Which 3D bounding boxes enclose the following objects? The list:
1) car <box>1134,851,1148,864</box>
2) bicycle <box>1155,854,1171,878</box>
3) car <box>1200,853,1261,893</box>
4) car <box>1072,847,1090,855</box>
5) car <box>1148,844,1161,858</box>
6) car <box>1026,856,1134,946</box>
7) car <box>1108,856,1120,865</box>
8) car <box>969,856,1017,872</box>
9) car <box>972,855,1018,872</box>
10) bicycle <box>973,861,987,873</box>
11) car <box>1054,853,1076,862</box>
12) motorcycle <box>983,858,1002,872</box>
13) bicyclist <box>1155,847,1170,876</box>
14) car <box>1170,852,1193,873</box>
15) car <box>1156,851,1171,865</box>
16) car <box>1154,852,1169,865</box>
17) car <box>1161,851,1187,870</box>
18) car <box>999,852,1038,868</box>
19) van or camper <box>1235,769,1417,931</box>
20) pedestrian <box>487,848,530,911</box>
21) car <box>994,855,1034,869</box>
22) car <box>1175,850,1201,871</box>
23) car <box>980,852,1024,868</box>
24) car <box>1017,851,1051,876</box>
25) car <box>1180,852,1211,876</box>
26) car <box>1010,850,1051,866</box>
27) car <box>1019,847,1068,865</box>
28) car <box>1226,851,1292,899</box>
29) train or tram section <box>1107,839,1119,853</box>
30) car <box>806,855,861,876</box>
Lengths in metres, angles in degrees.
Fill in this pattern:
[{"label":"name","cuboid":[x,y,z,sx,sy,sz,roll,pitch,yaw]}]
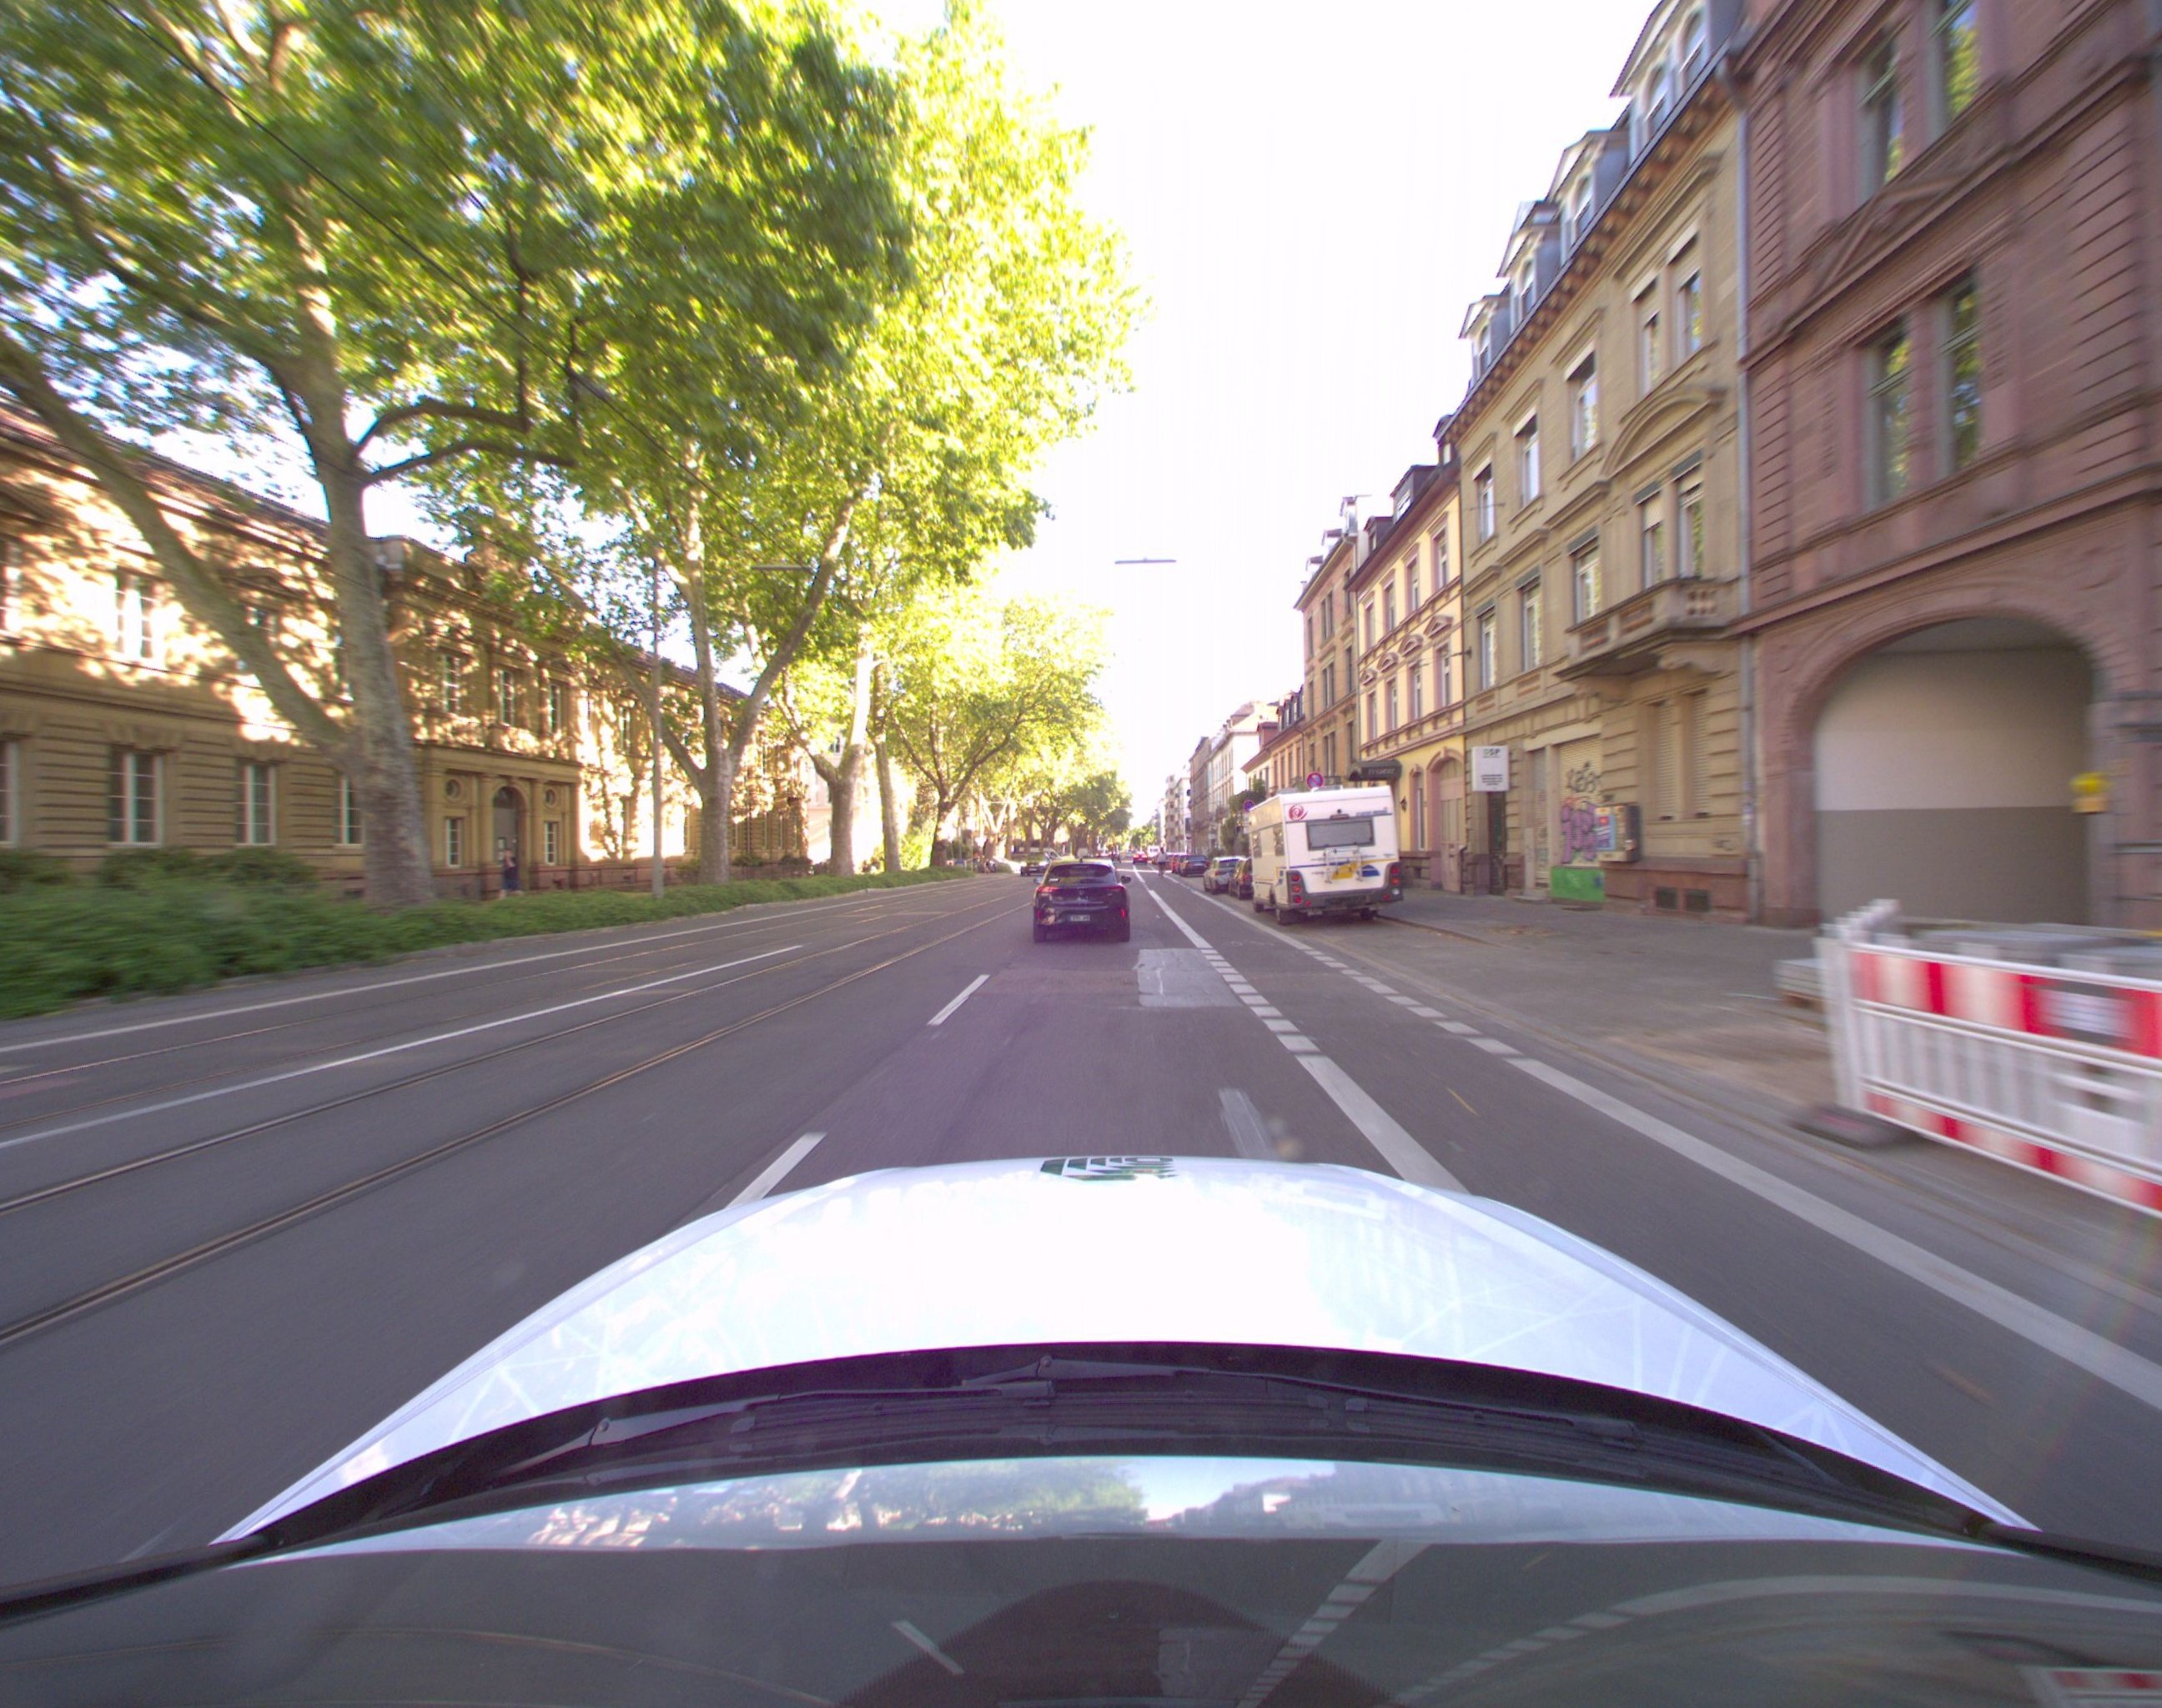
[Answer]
[{"label":"car","cuboid":[8.147,0.499,110.962,1.801,1.742,3.938,-1,0,5]},{"label":"bicycle","cuboid":[5.055,0.724,50.310,0.857,1.407,2.525,0,0,2]},{"label":"car","cuboid":[5.995,0.719,33.154,1.802,1.435,4.669,-2,0,3]},{"label":"car","cuboid":[-0.023,-0.683,176.577,3.906,1.790,1.677,1,0,0]},{"label":"car","cuboid":[12.758,-0.535,142.312,2.066,2.219,4.940,-4,0,5]},{"label":"car","cuboid":[0.082,0.789,15.305,1.786,1.441,3.534,0,1,3]},{"label":"car","cuboid":[5.192,0.958,126.227,1.802,1.338,3.935,0,0,3]},{"label":"car","cuboid":[-7.787,0.855,72.275,3.902,1.332,1.849,1,0,4]},{"label":"car","cuboid":[-7.863,0.865,74.783,3.905,1.453,1.801,-1,0,3]},{"label":"bicycle","cuboid":[-8.256,1.043,66.449,0.537,0.940,2.040,0,0,11]},{"label":"car","cuboid":[-2.884,0.672,146.203,3.906,1.498,1.677,1,0,0]},{"label":"motorcycle","cuboid":[-7.174,0.888,66.339,0.878,1.147,2.398,0,0,11]},{"label":"bicyclist","cuboid":[5.053,0.461,50.359,0.844,1.740,1.162,0,0,2]},{"label":"car","cuboid":[7.894,0.656,64.466,1.627,1.546,3.580,-2,0,5]},{"label":"car","cuboid":[10.116,0.487,99.698,1.562,1.517,3.041,-4,0,1]},{"label":"car","cuboid":[10.355,0.572,104.750,1.696,1.456,3.704,-4,0,7]},{"label":"car","cuboid":[8.630,0.579,75.662,1.874,1.586,3.932,-4,0,0]},{"label":"car","cuboid":[-6.745,0.662,88.437,3.978,1.627,1.881,1,0,3]},{"label":"van or camper","cuboid":[5.497,-0.067,19.789,2.466,2.972,7.894,-4,0,5]},{"label":"pedestrian","cuboid":[-17.156,0.761,24.407,0.717,1.849,0.836,0,0,-4]},{"label":"car","cuboid":[-7.056,0.849,86.148,3.903,1.442,1.750,1,0,3]},{"label":"car","cuboid":[7.802,0.446,59.578,1.643,1.456,3.872,-2,0,4]},{"label":"car","cuboid":[-7.517,0.599,77.655,3.903,1.462,1.807,-1,0,3]},{"label":"car","cuboid":[-3.255,0.626,57.663,1.859,1.629,4.564,-1,1,3]},{"label":"car","cuboid":[7.301,0.621,52.443,1.686,1.392,4.500,-2,0,5]},{"label":"car","cuboid":[-6.187,0.516,100.267,4.653,1.924,1.982,1,0,4]},{"label":"car","cuboid":[-5.311,0.314,115.354,6.599,2.409,2.460,1,0,3]},{"label":"car","cuboid":[6.073,0.691,28.226,1.637,1.434,4.034,-4,0,5]},{"label":"train or tram section","cuboid":[9.164,-2.187,232.943,2.722,3.682,12.732,-1,0,5]},{"label":"car","cuboid":[-19.588,0.891,64.610,3.759,1.418,1.696,-1,3,4]}]
